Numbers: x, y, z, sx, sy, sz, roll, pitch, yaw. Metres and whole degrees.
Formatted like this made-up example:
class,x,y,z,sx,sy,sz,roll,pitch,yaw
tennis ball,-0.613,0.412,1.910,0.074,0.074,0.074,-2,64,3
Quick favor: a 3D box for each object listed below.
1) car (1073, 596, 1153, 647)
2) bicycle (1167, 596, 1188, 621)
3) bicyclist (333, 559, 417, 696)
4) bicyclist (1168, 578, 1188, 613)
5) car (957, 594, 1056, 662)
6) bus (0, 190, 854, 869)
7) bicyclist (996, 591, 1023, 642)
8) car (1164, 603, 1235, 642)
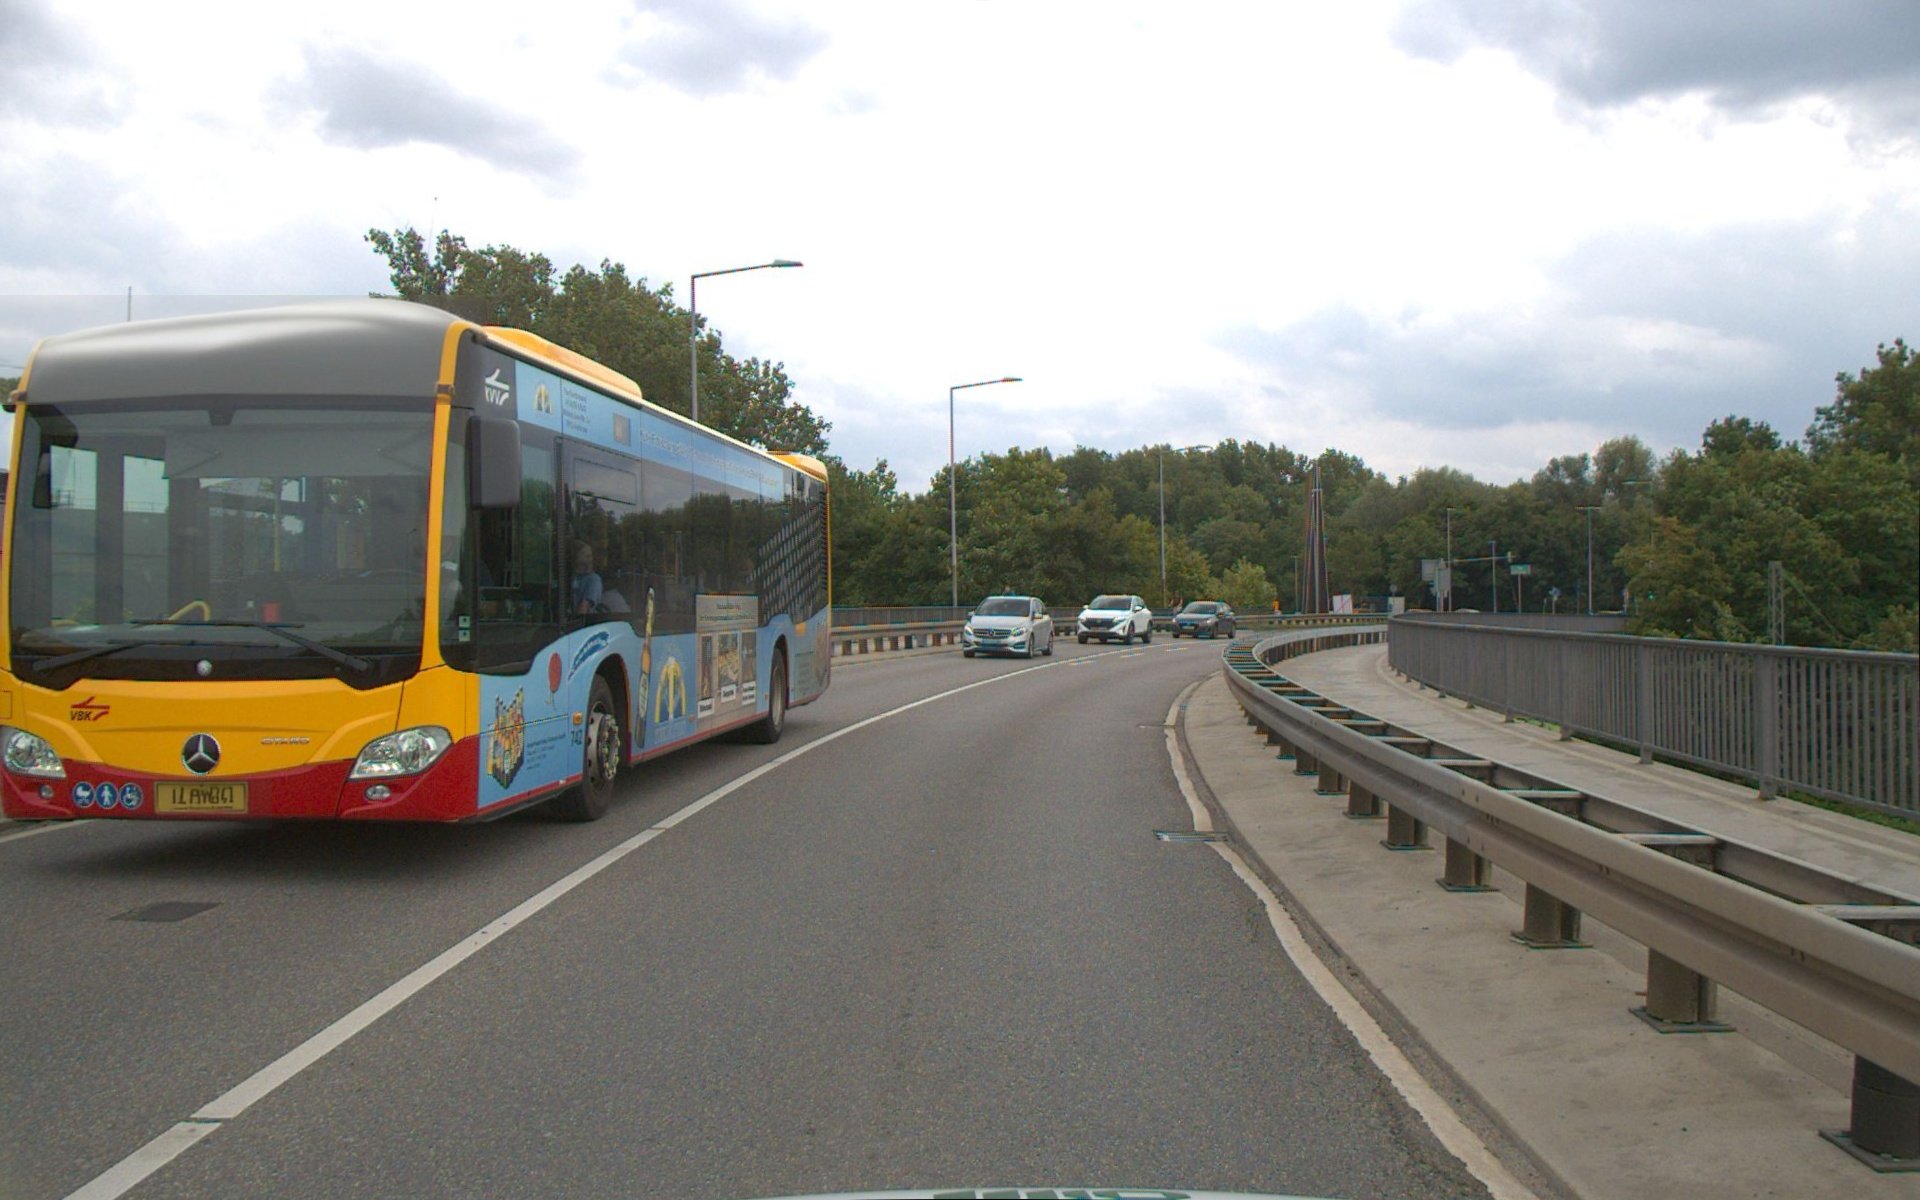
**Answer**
class,x,y,z,sx,sy,sz,roll,pitch,yaw
car,5.228,0.739,56.038,1.899,1.621,4.777,1,-1,15
bicycle,10.489,0.404,79.813,0.621,1.194,1.906,1,-1,20
bicyclist,-6.862,0.315,19.418,0.597,1.567,0.758,1,-1,10
bicyclist,10.525,-0.214,79.819,0.755,1.660,0.649,1,-2,22
car,1.271,0.722,43.028,1.779,1.648,4.401,1,-1,12
bus,-3.390,-0.296,14.586,2.968,3.290,12.958,1,-1,5
bicyclist,1.807,0.595,60.328,0.830,1.840,0.797,1,-1,12
car,9.745,0.932,67.079,1.772,1.503,4.380,1,-1,24
